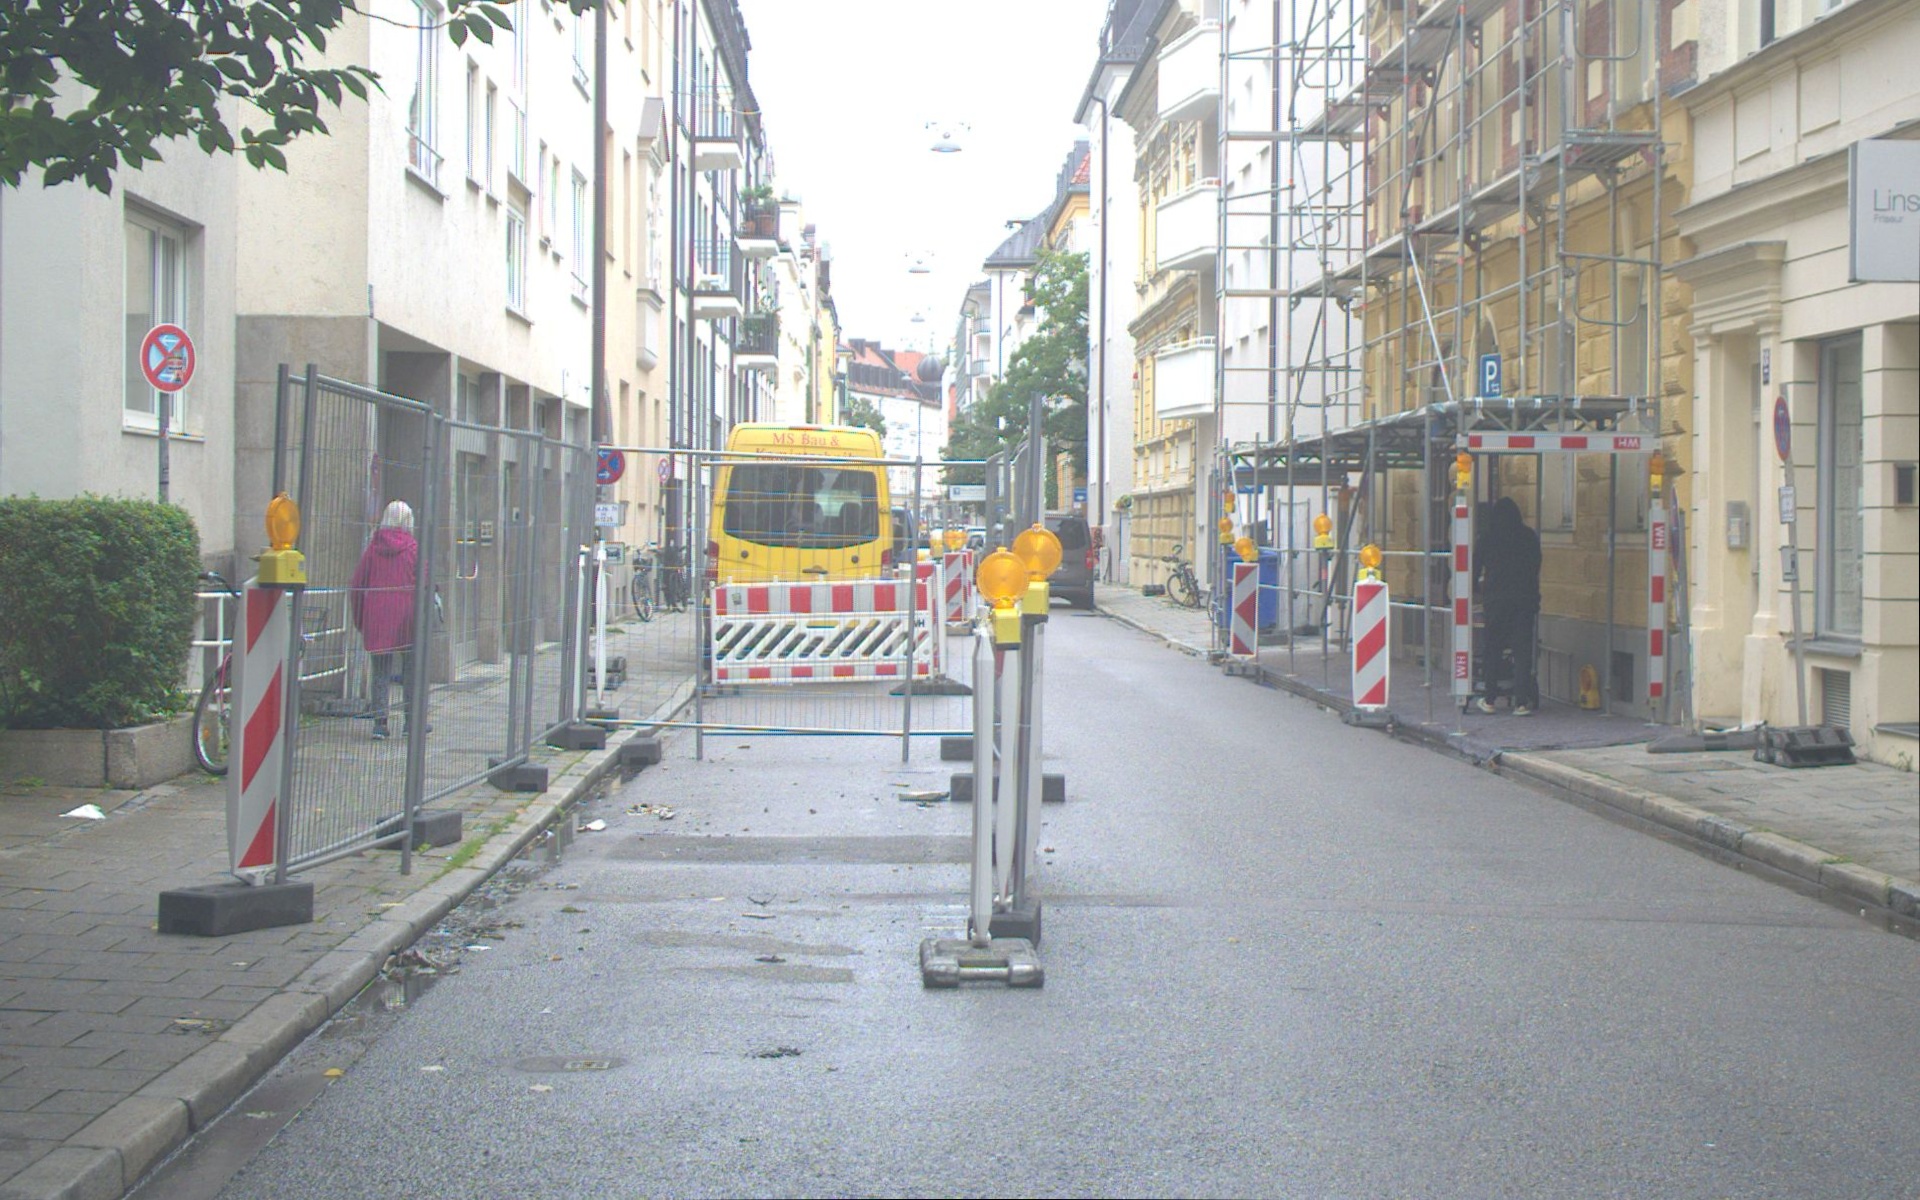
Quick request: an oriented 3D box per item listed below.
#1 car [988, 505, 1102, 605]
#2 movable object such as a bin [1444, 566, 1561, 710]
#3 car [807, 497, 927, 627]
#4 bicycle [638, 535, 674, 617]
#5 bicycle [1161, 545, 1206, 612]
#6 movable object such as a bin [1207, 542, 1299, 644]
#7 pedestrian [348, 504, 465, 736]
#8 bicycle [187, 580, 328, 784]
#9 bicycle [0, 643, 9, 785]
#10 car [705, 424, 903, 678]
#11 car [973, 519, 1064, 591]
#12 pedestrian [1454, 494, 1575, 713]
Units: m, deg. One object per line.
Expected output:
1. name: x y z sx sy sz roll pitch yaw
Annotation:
1. car: 1.704 -0.946 70.322 1.993 1.925 4.660 2 1 -2
2. movable object such as a bin: 4.574 0.311 29.048 0.729 1.137 0.988 -4 1 -2
3. car: -1.437 -0.612 53.359 1.727 1.891 5.509 -1 1 -1
4. bicycle: -4.698 -0.376 53.128 0.381 1.184 2.137 2 2 -9
5. bicycle: 4.116 -0.406 63.459 0.638 1.149 1.915 -2 2 -1
6. movable object such as a bin: 4.093 -0.103 47.943 1.087 1.341 1.317 -2 1 11
7. pedestrian: -3.700 0.124 23.021 0.638 1.526 0.747 0 1 1
8. bicycle: -4.017 0.447 19.742 0.377 1.059 1.597 7 1 -1
9. bicycle: -3.769 0.637 11.804 0.443 0.975 1.816 4 0 0
10. car: -1.693 -0.571 38.201 1.993 2.570 6.738 0 1 -2
11. car: 1.343 -1.073 80.455 1.894 1.635 4.322 0 1 -2
12. pedestrian: 4.585 0.016 28.478 0.729 1.746 0.988 -3 1 -2
